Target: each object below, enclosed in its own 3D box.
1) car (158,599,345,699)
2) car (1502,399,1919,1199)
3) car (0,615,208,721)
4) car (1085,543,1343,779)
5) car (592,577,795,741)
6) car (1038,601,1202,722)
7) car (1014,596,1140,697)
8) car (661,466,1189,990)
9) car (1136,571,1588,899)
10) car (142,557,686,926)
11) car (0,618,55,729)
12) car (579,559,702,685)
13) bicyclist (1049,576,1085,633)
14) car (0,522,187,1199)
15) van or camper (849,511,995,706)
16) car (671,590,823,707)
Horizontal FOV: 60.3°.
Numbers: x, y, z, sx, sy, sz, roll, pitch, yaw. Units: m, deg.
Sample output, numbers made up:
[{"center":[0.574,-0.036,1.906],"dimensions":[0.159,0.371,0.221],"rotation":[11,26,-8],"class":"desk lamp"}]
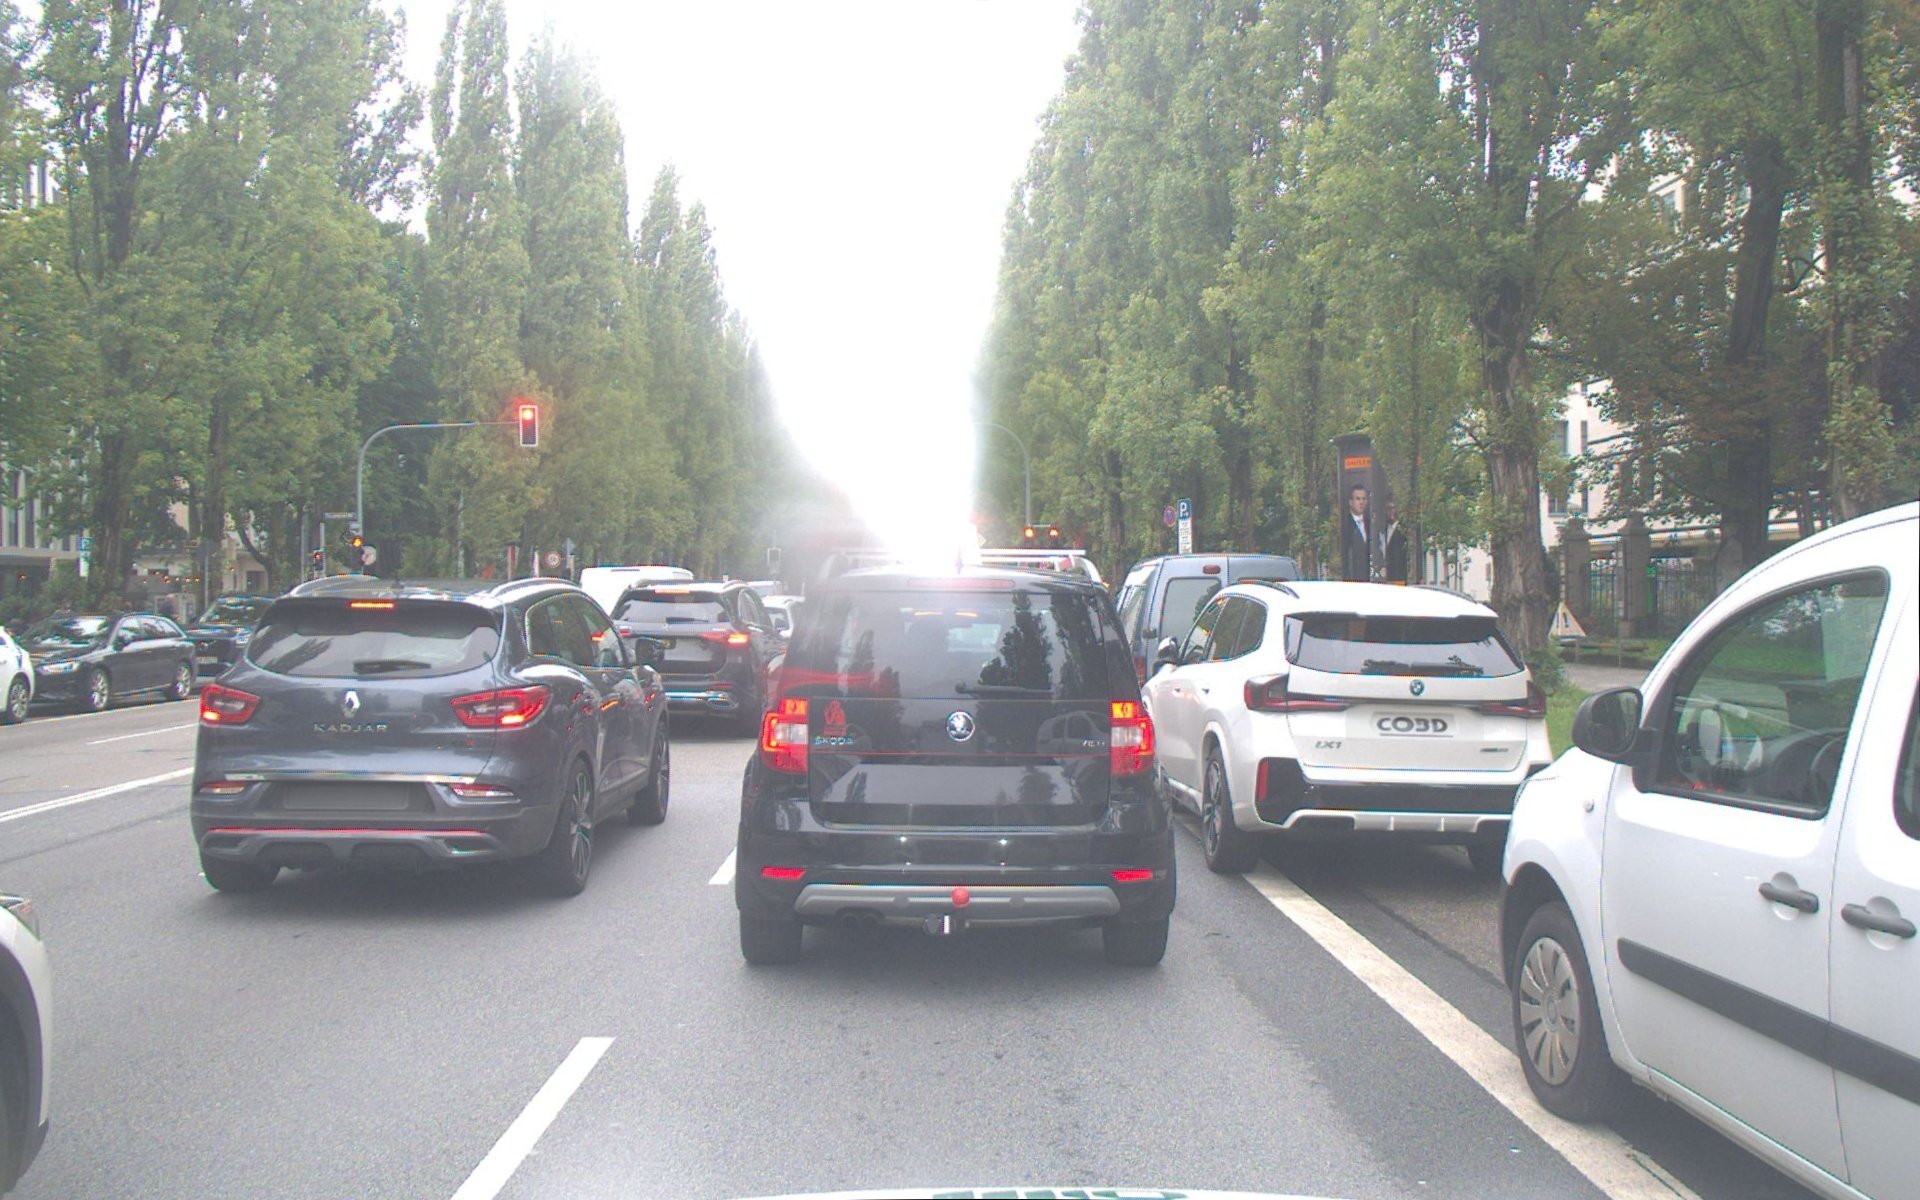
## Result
[{"center":[-13.538,0.880,31.920],"dimensions":[1.813,1.683,4.692],"rotation":[-3,0,-4],"class":"car"},{"center":[2.728,0.567,3.236],"dimensions":[1.814,1.914,4.166],"rotation":[-1,0,-3],"class":"car"},{"center":[-13.391,1.000,25.806],"dimensions":[1.591,1.413,4.163],"rotation":[-3,0,-4],"class":"car"},{"center":[2.253,0.482,15.671],"dimensions":[1.700,1.928,4.023],"rotation":[-1,0,-2],"class":"car"},{"center":[-2.892,0.581,18.716],"dimensions":[1.745,1.648,4.023],"rotation":[0,0,-2],"class":"car"},{"center":[2.020,0.742,21.740],"dimensions":[1.700,1.411,3.561],"rotation":[-1,0,-2],"class":"car"},{"center":[1.846,0.700,27.038],"dimensions":[1.700,1.501,3.561],"rotation":[-1,0,-2],"class":"car"},{"center":[-0.169,0.448,7.824],"dimensions":[1.818,1.801,3.999],"rotation":[1,0,-2],"class":"car"},{"center":[2.243,0.654,10.396],"dimensions":[1.706,1.620,4.210],"rotation":[-1,0,-2],"class":"car"},{"center":[-2.756,0.623,9.405],"dimensions":[1.798,1.613,4.184],"rotation":[1,0,-2],"class":"car"},{"center":[-13.102,0.993,20.564],"dimensions":[1.591,1.413,4.163],"rotation":[-3,0,-4],"class":"car"},{"center":[-5.839,0.385,30.603],"dimensions":[1.746,2.148,4.021],"rotation":[-1,0,-5],"class":"car"},{"center":[3.373,0.136,52.192],"dimensions":[0.891,1.752,0.821],"rotation":[-1,0,-18],"class":"bicyclist"},{"center":[-2.742,0.650,1.803],"dimensions":[1.866,1.551,4.009],"rotation":[-1,0,0],"class":"car"},{"center":[-0.626,0.097,24.286],"dimensions":[1.936,2.593,4.022],"rotation":[-1,0,-3],"class":"van or camper"},{"center":[-3.157,0.673,25.229],"dimensions":[1.954,1.588,3.998],"rotation":[-1,1,-3],"class":"car"}]
